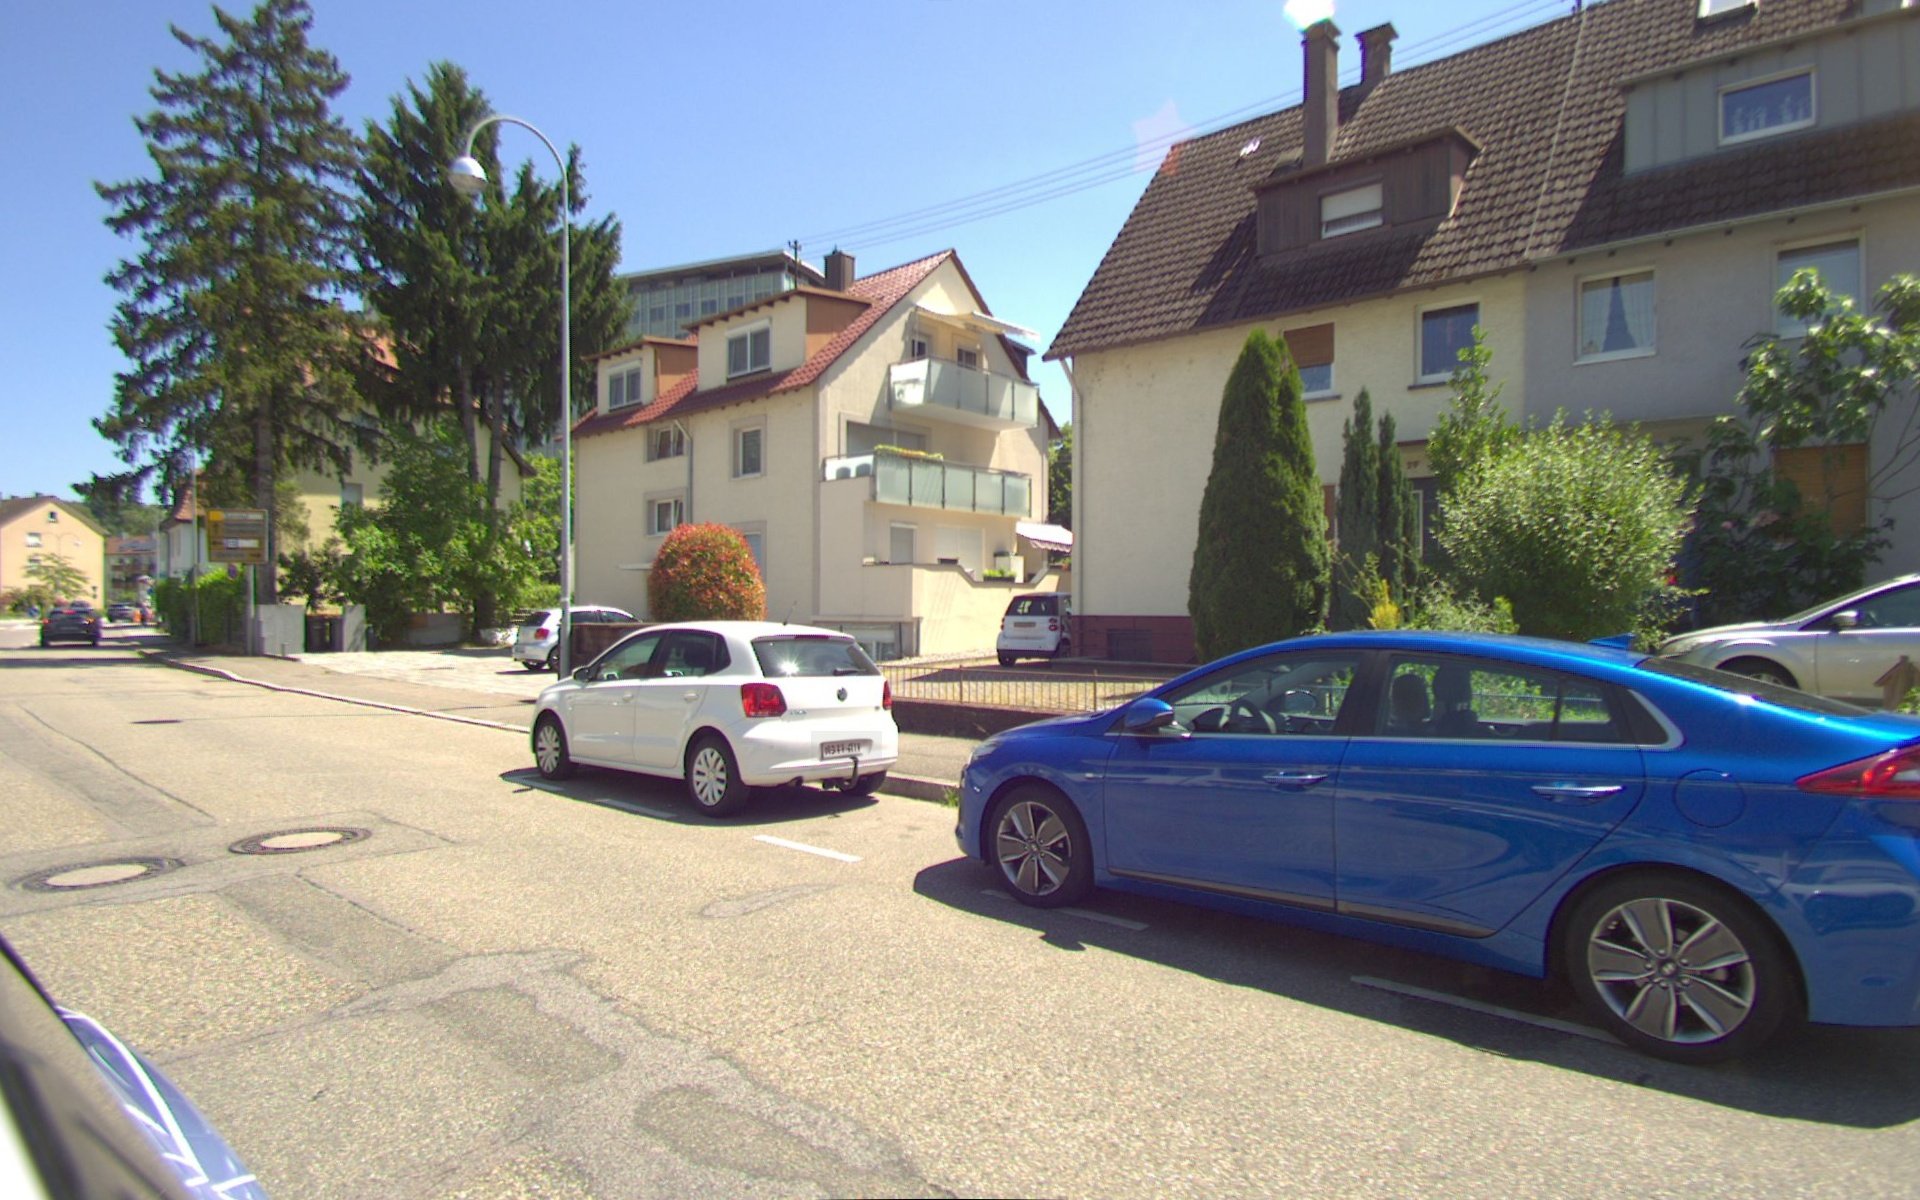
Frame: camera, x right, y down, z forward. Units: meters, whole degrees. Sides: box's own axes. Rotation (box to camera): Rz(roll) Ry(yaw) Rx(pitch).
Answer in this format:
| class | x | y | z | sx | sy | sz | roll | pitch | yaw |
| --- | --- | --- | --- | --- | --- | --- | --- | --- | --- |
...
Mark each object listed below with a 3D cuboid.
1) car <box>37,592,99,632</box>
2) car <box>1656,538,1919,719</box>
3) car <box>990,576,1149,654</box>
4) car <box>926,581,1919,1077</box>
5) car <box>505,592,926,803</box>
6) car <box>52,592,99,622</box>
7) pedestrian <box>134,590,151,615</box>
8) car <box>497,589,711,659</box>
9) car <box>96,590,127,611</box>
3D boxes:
| class | x | y | z | sx | sy | sz | roll | pitch | yaw |
| --- | --- | --- | --- | --- | --- | --- | --- | --- | --- |
| car | -36.138 | 0.493 | 41.076 | 1.718 | 1.516 | 4.150 | 2 | -2 | -39 |
| car | 8.886 | 0.231 | 8.901 | 4.360 | 1.519 | 1.751 | 3 | 3 | 41 |
| car | 2.464 | 0.280 | 22.112 | 1.645 | 1.548 | 3.746 | -1 | 0 | 39 |
| car | 2.037 | 0.690 | 4.823 | 4.360 | 1.450 | 1.750 | 0 | -2 | 41 |
| car | -2.270 | 0.712 | 8.813 | 3.938 | 1.434 | 1.562 | -1 | -3 | 41 |
| car | -46.827 | 0.393 | 53.601 | 1.784 | 1.500 | 4.392 | 2 | -2 | -41 |
| pedestrian | -51.642 | 0.157 | 63.923 | 0.606 | 1.575 | 0.825 | -7 | 5 | -43 |
| car | -8.318 | 0.503 | 23.922 | 4.416 | 1.452 | 1.848 | -1 | 1 | -44 |
| car | -68.973 | 0.036 | 82.260 | 1.830 | 1.628 | 4.303 | -1 | 1 | -41 |
